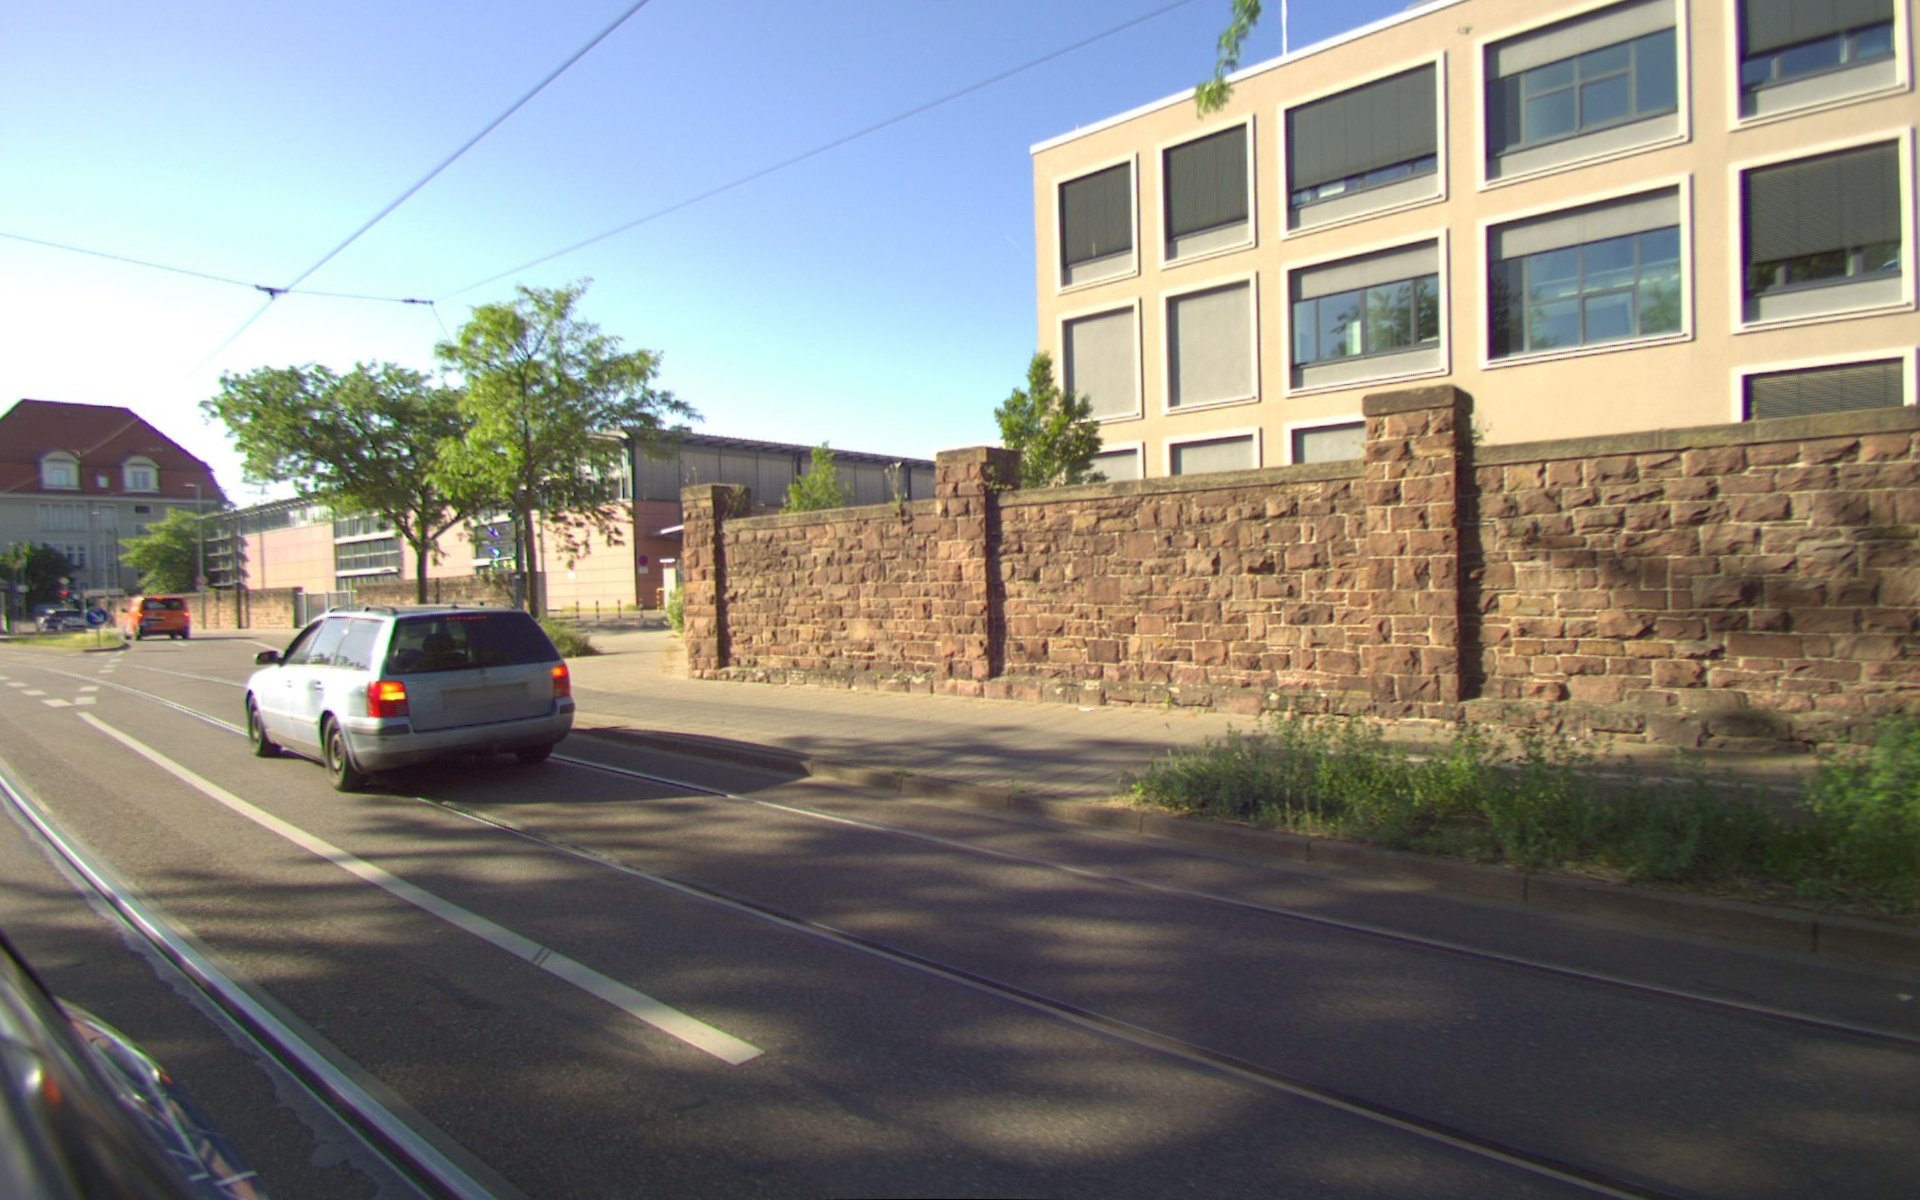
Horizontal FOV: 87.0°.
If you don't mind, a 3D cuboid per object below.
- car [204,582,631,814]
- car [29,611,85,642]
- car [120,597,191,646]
[{"bbox_3d":[-5.093,0.690,9.185,4.579,1.535,1.972,-1,1,42],"label":"car"},{"bbox_3d":[-51.128,1.496,57.266,4.206,1.676,1.747,-1,1,40],"label":"car"},{"bbox_3d":[-35.231,0.918,44.276,1.970,1.980,4.938,-2,1,-43],"label":"car"}]
